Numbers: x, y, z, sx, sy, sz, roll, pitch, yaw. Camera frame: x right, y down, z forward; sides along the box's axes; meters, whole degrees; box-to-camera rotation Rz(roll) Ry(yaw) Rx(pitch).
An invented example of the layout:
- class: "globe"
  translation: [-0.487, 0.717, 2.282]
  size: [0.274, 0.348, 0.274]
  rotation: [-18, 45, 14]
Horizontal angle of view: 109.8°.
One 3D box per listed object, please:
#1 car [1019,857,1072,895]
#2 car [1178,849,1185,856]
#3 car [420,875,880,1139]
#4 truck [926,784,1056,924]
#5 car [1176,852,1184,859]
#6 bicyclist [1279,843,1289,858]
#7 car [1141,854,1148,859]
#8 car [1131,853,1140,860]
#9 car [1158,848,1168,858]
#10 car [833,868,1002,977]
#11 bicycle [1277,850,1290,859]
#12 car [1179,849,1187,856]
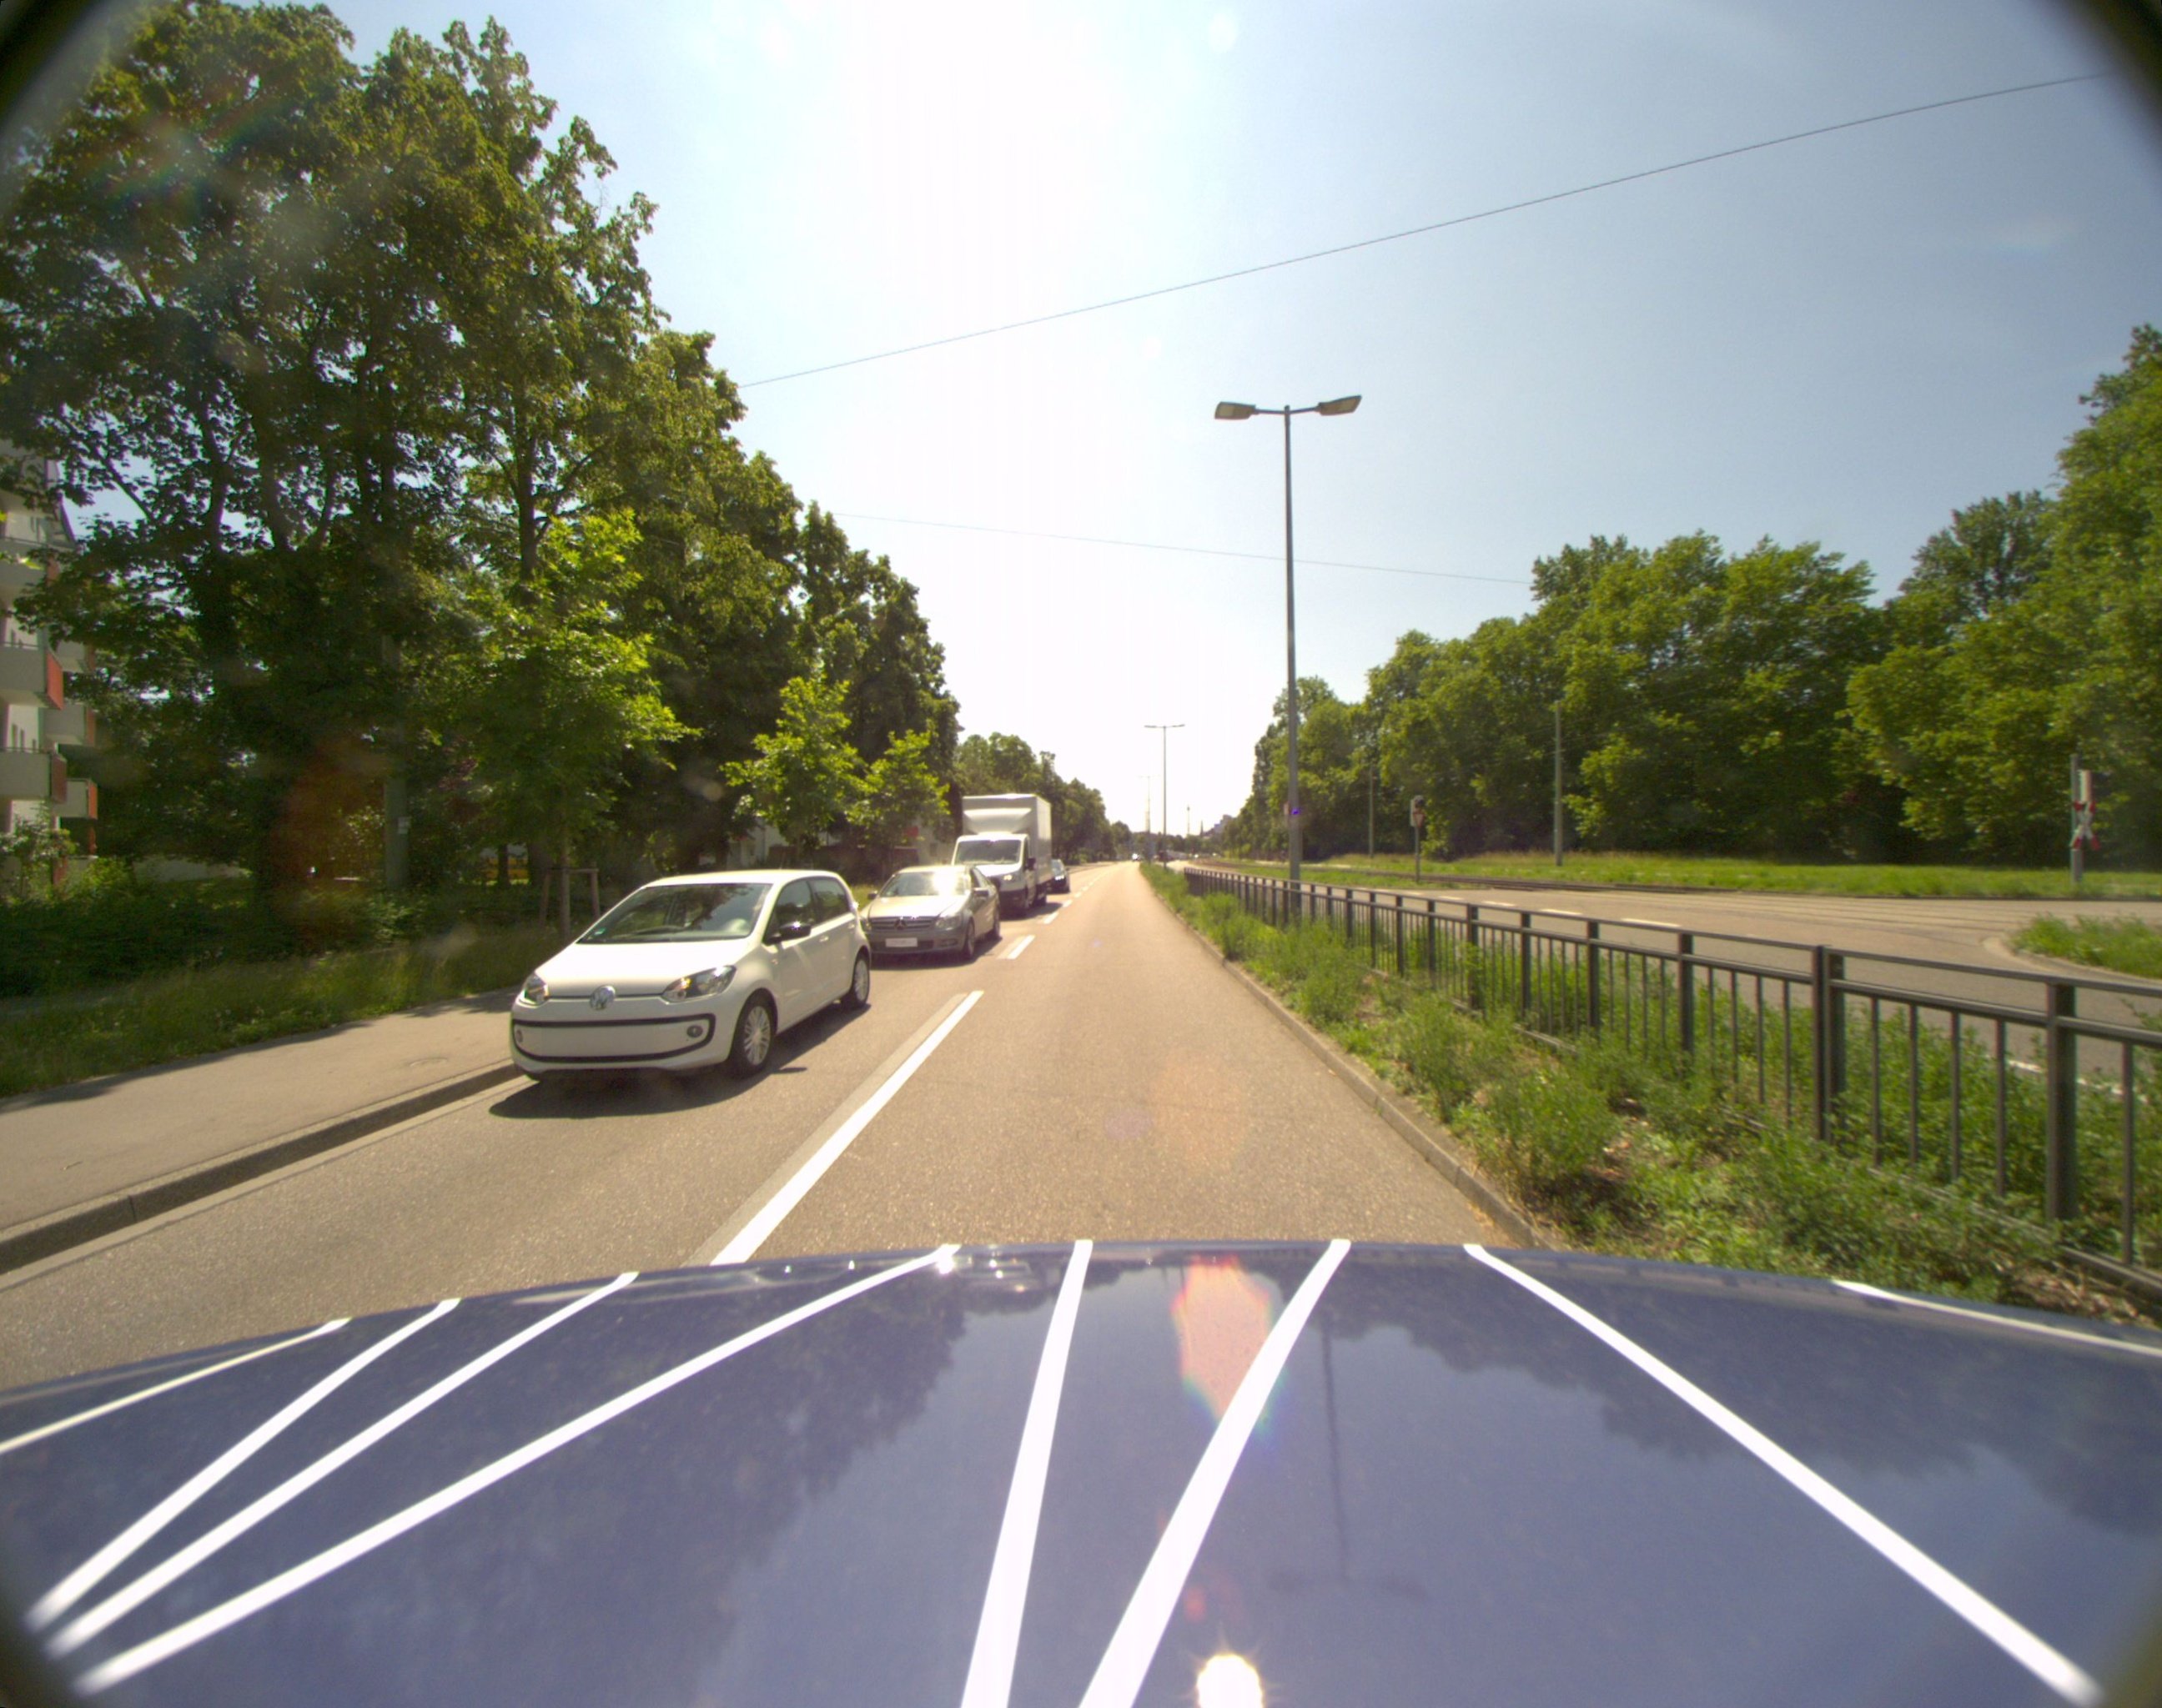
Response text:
- class: "car"
  translation: [-1.476, 0.904, 33.029]
  size: [1.998, 1.499, 4.000]
  rotation: [-1, 0, 1]
- class: "car"
  translation: [31.783, -0.514, 240.756]
  size: [1.997, 2.002, 4.001]
  rotation: [-2, 1, 7]
- class: "car"
  translation: [-3.120, 0.985, 6.509]
  size: [1.730, 1.470, 3.771]
  rotation: [-1, 0, 1]
- class: "truck"
  translation: [-2.291, -0.011, 22.269]
  size: [2.433, 3.326, 7.923]
  rotation: [-1, 0, 3]
- class: "car"
  translation: [26.906, 0.297, 207.227]
  size: [1.998, 1.847, 4.001]
  rotation: [-1, 0, 5]
- class: "bicyclist"
  translation: [24.524, -0.424, 91.847]
  size: [0.862, 1.796, 1.118]
  rotation: [-1, 1, 1]
- class: "car"
  translation: [17.416, 0.689, 208.248]
  size: [1.997, 1.499, 4.002]
  rotation: [-1, 0, 7]
- class: "car"
  translation: [13.186, 0.579, 184.184]
  size: [1.997, 1.499, 4.002]
  rotation: [-1, 0, 7]
- class: "car"
  translation: [16.634, -0.189, 153.858]
  size: [1.997, 1.847, 4.002]
  rotation: [-1, 0, 7]
- class: "car"
  translation: [-2.468, 0.982, 12.530]
  size: [1.840, 1.400, 4.087]
  rotation: [-1, 0, 1]
- class: "bicycle"
  translation: [24.508, 0.060, 91.908]
  size: [0.862, 1.155, 2.787]
  rotation: [-1, 0, 1]
- class: "car"
  translation: [27.009, -0.482, 200.930]
  size: [1.998, 1.847, 4.001]
  rotation: [-1, 0, 5]
